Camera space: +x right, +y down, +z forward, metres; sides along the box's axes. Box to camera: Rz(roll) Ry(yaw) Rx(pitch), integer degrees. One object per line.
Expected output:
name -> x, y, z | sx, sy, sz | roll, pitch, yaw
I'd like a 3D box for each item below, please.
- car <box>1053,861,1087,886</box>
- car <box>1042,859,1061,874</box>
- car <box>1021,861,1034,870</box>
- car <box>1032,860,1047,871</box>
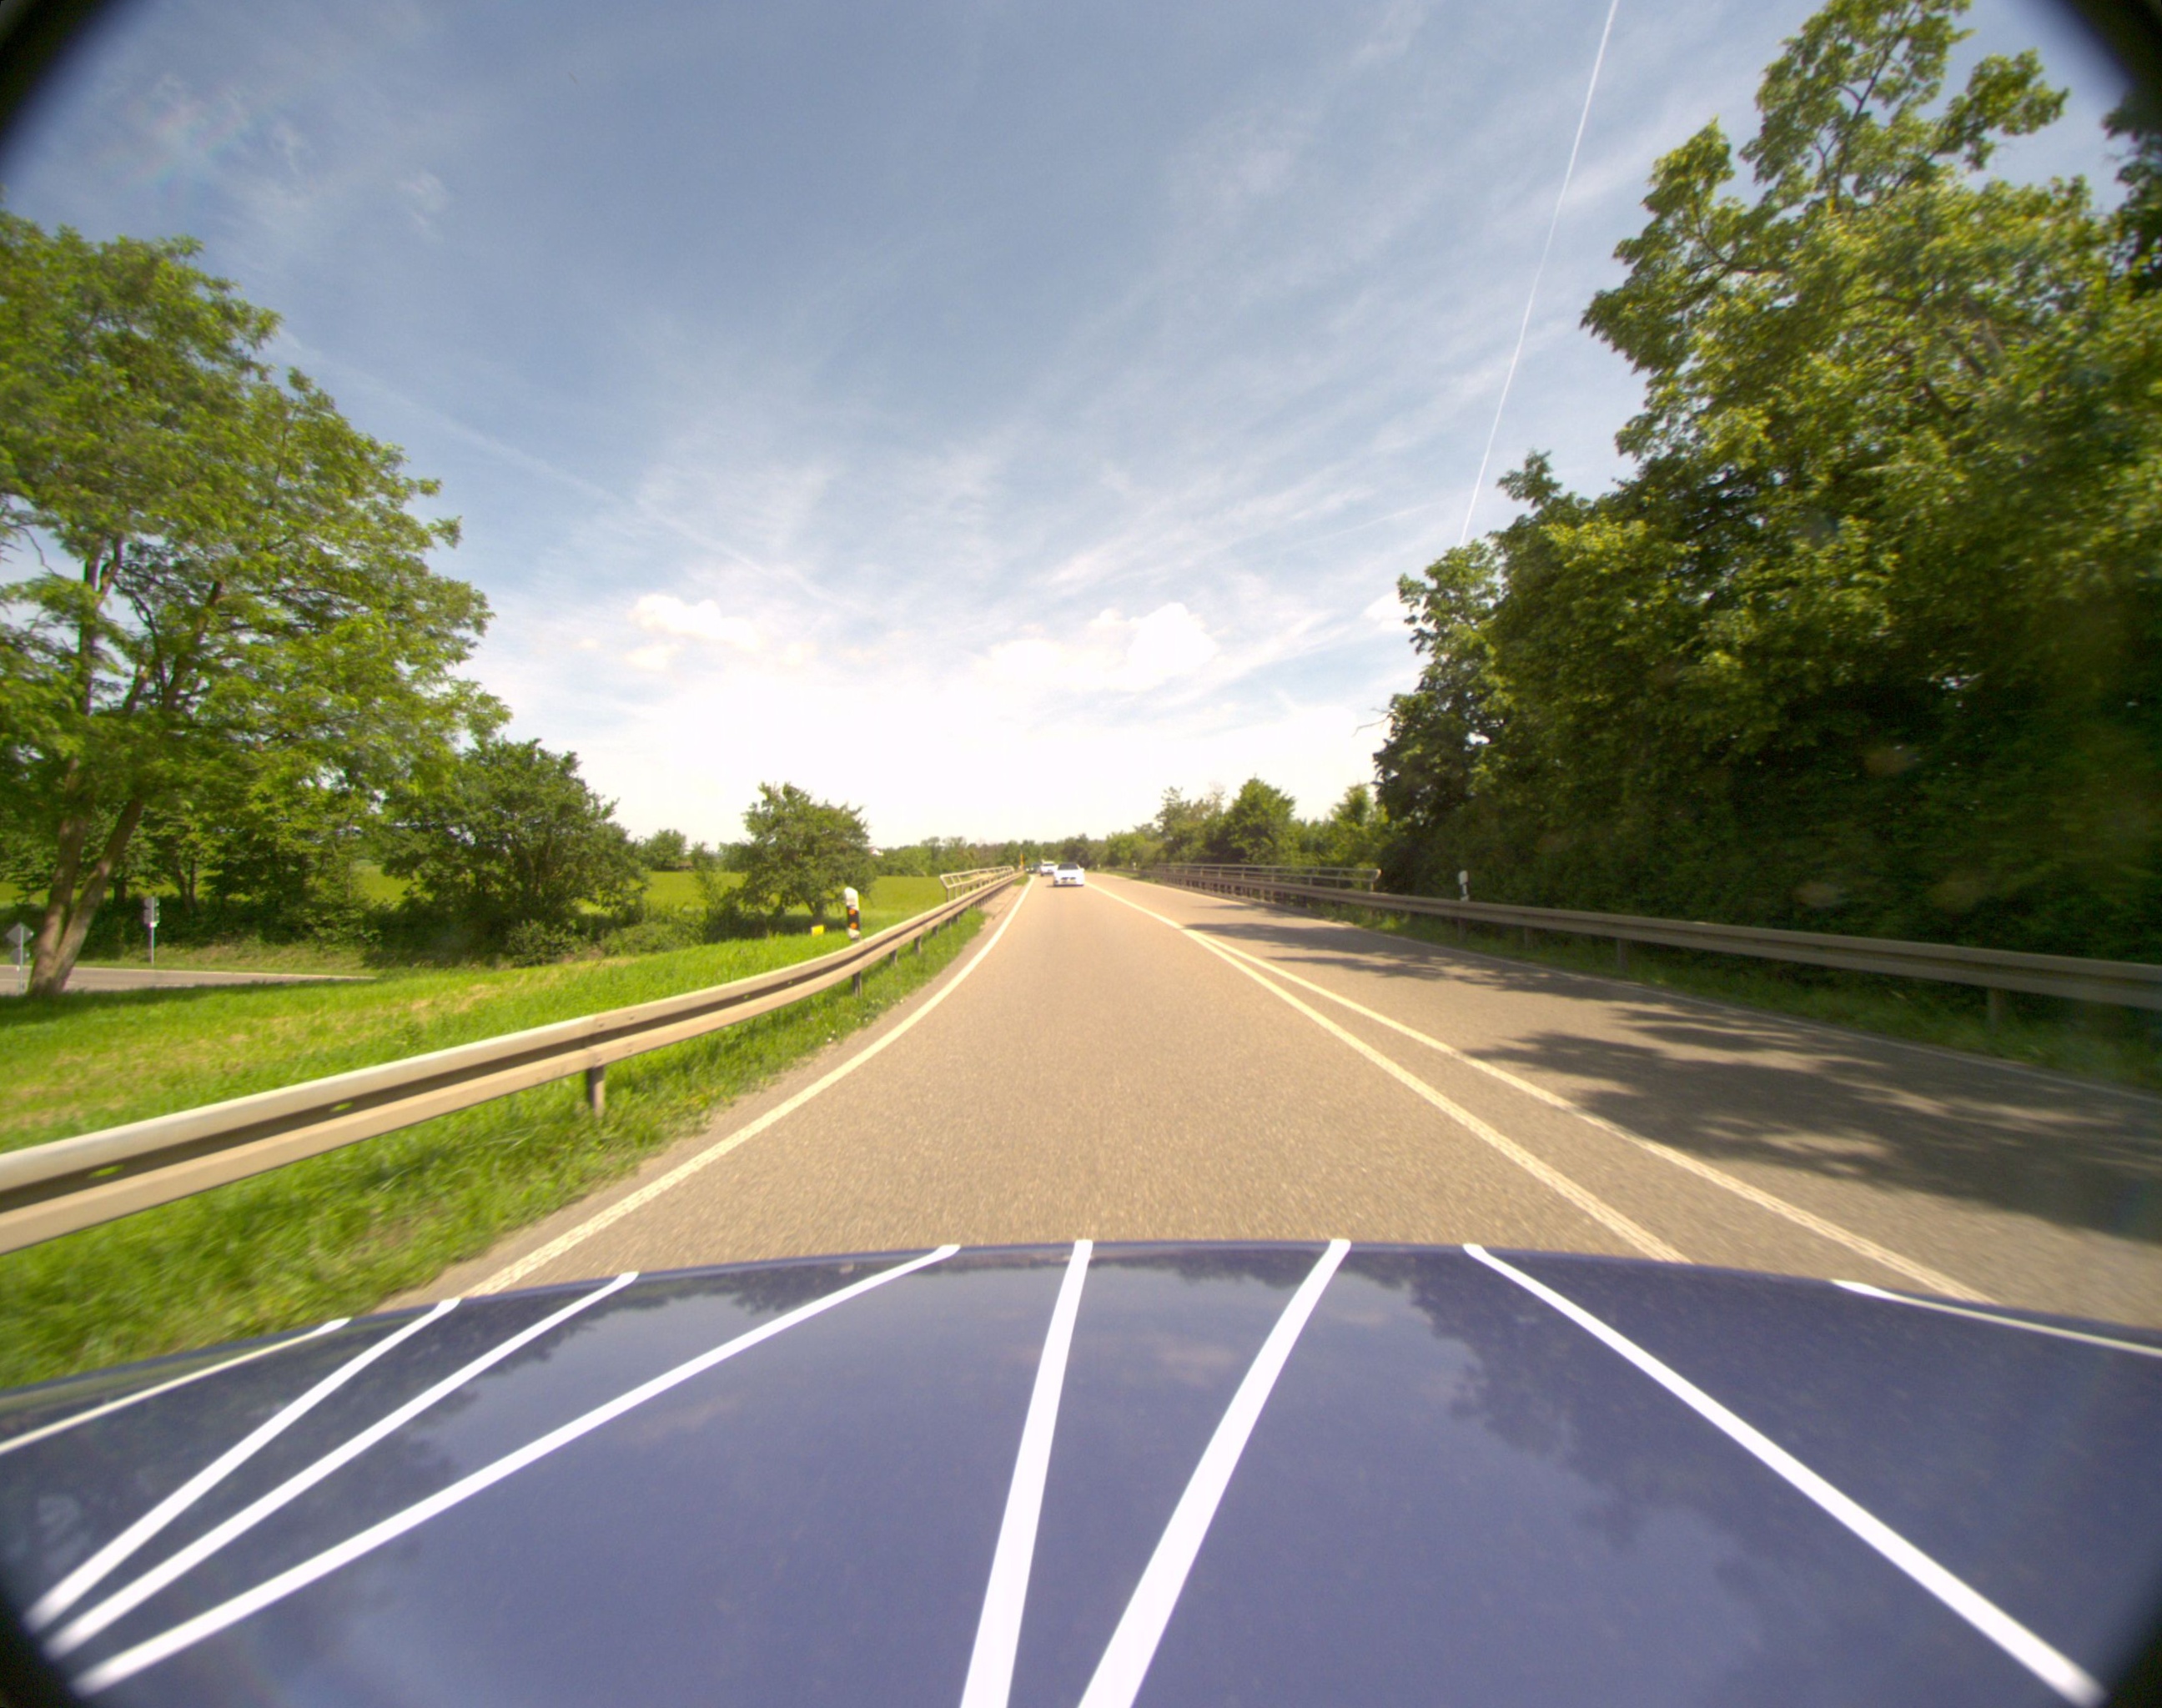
car -> -0.729, 1.173, 47.602 | 1.929, 1.441, 4.534 | -1, 0, -3
car -> -3.196, 1.326, 81.284 | 1.930, 1.441, 3.998 | -1, 0, -4
car -> -8.701, 1.820, 123.586 | 1.930, 1.441, 3.998 | -1, 0, -5
car -> -5.660, 1.624, 104.136 | 1.930, 1.441, 4.075 | -1, 0, -5
